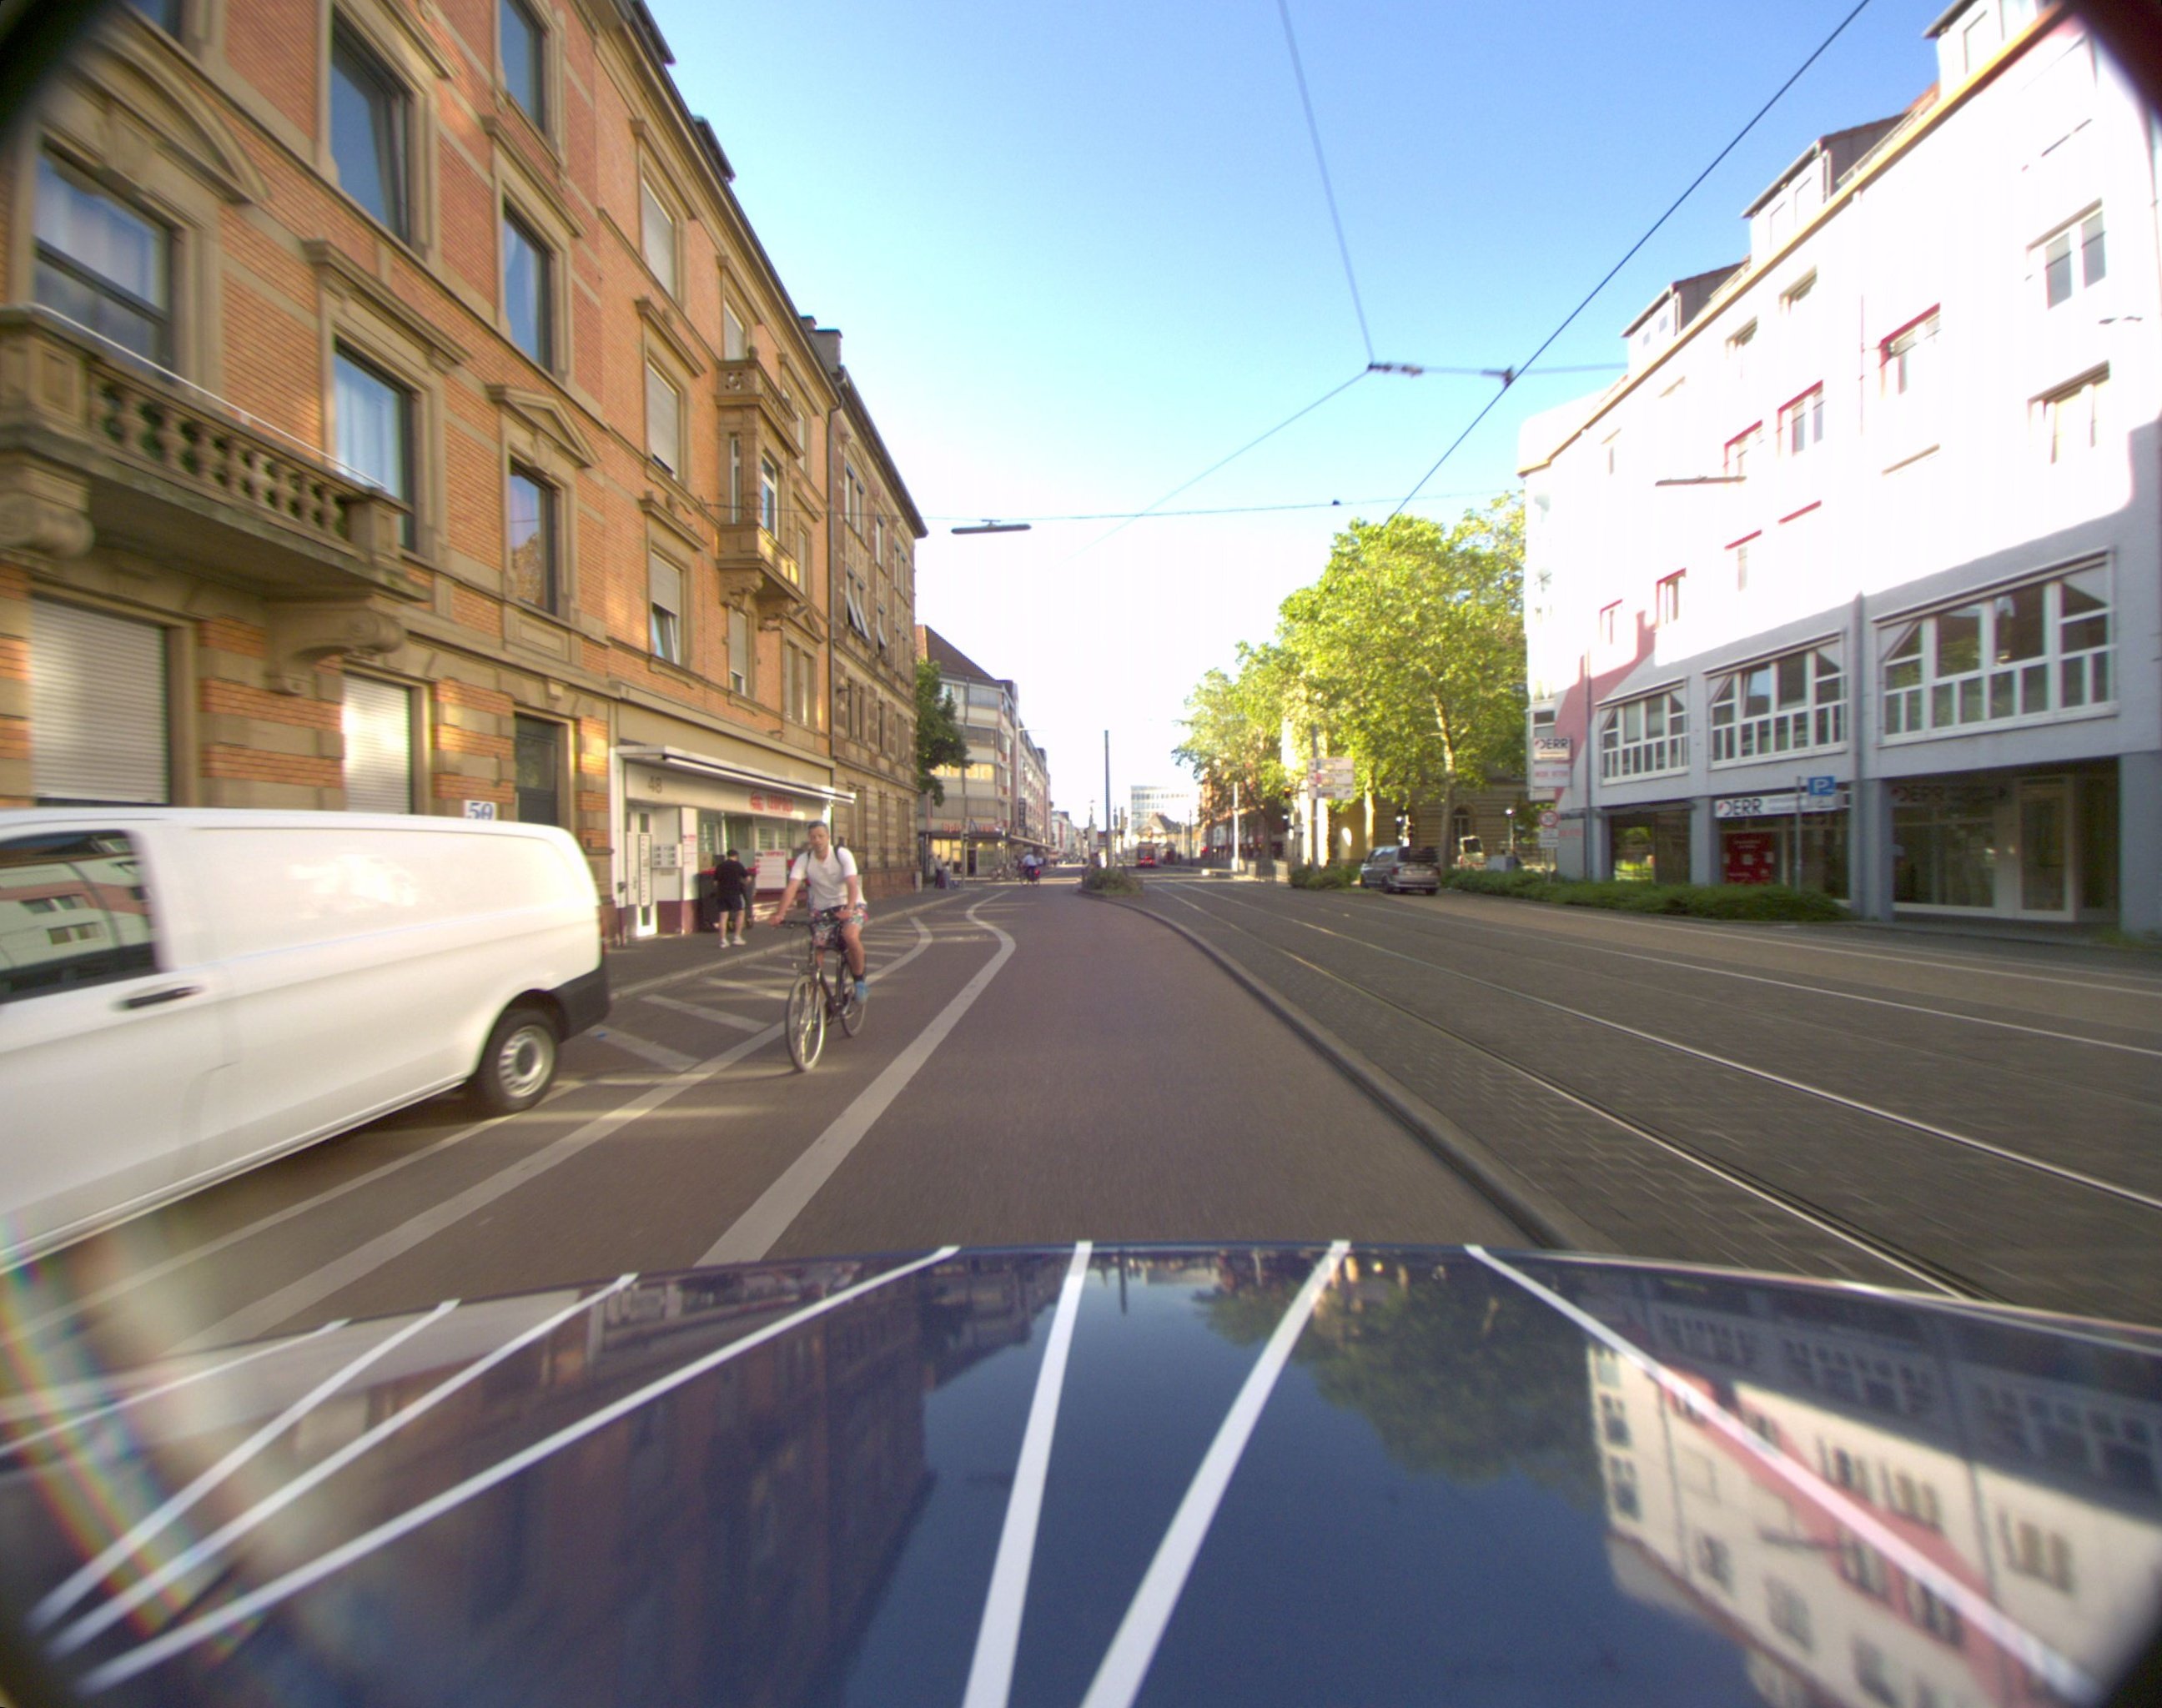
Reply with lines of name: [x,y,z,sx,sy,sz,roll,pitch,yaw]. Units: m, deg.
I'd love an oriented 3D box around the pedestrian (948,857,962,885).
pedestrian: [-6.427,0.847,38.657,0.581,1.406,0.575,-2,1,-16]

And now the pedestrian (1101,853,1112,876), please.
pedestrian: [1.953,0.761,57.554,0.764,1.724,0.590,-1,0,8]

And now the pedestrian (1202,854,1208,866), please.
pedestrian: [19.863,0.902,121.884,0.791,1.905,0.665,-1,1,0]

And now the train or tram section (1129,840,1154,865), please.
train or tram section: [9.283,-0.204,118.683,2.981,3.623,13.944,-2,0,1]

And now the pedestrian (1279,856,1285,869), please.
pedestrian: [22.753,0.951,85.917,0.584,1.521,0.474,0,1,2]

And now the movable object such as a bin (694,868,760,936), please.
movable object such as a bin: [-7.469,0.984,16.096,0.777,1.340,1.299,-1,1,0]

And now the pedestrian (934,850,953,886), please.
pedestrian: [-7.032,0.710,38.885,0.850,1.797,0.875,0,0,-18]

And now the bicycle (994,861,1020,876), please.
bicycle: [-5.604,1.113,57.733,1.950,1.159,0.628,0,0,-1]

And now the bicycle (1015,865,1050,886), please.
bicycle: [-2.642,1.152,40.961,1.939,1.088,0.600,-1,1,37]

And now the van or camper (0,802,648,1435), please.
van or camper: [-4.445,0.867,3.230,1.936,2.025,5.474,-2,1,1]

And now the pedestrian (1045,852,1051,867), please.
pedestrian: [-3.942,0.684,91.339,0.669,1.718,0.810,2,1,0]

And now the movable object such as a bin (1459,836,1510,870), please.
movable object such as a bin: [24.160,-0.035,45.592,2.643,2.002,1.177,0,1,25]

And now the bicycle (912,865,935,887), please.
bicycle: [-8.430,1.177,40.618,0.445,1.108,1.810,-1,0,-39]

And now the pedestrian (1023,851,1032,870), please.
pedestrian: [-4.983,0.611,70.952,0.746,1.717,0.814,-2,1,2]

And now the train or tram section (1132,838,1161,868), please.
train or tram section: [8.778,-0.096,103.469,2.981,3.623,16.489,-2,-1,2]

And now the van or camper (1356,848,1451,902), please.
van or camper: [12.796,0.762,30.533,1.998,1.929,4.835,2,0,4]

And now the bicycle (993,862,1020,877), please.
bicycle: [-5.589,1.129,56.973,1.950,1.100,0.564,0,0,-1]

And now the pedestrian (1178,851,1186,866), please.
pedestrian: [11.156,0.503,83.946,0.697,1.658,1.033,-1,0,2]

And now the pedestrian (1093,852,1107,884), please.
pedestrian: [0.975,0.720,39.581,0.519,1.581,0.667,-4,1,-8]

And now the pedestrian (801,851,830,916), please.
pedestrian: [-7.149,0.773,20.476,0.469,1.718,0.589,0,0,37]

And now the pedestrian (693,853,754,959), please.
pedestrian: [-6.296,0.896,13.416,0.674,1.803,0.756,-1,1,0]

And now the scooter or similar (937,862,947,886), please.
scooter or similar: [-7.610,1.074,41.535,0.392,1.281,1.520,-1,0,-14]

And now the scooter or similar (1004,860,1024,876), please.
scooter or similar: [-5.250,1.082,59.650,1.482,1.222,0.591,1,1,2]

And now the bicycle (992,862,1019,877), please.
bicycle: [-5.571,1.166,56.325,1.950,1.100,0.564,0,0,-1]

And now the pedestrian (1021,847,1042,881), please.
pedestrian: [-2.669,0.530,40.905,0.593,1.811,0.944,-2,1,38]

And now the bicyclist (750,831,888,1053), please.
bicyclist: [-2.073,0.657,6.123,0.656,1.646,0.928,-1,1,8]

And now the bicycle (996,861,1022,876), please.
bicycle: [-5.610,1.108,59.002,1.950,1.100,0.564,0,0,-1]

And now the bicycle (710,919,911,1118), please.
bicycle: [-2.054,1.196,6.144,0.649,1.132,2.096,-1,1,6]
